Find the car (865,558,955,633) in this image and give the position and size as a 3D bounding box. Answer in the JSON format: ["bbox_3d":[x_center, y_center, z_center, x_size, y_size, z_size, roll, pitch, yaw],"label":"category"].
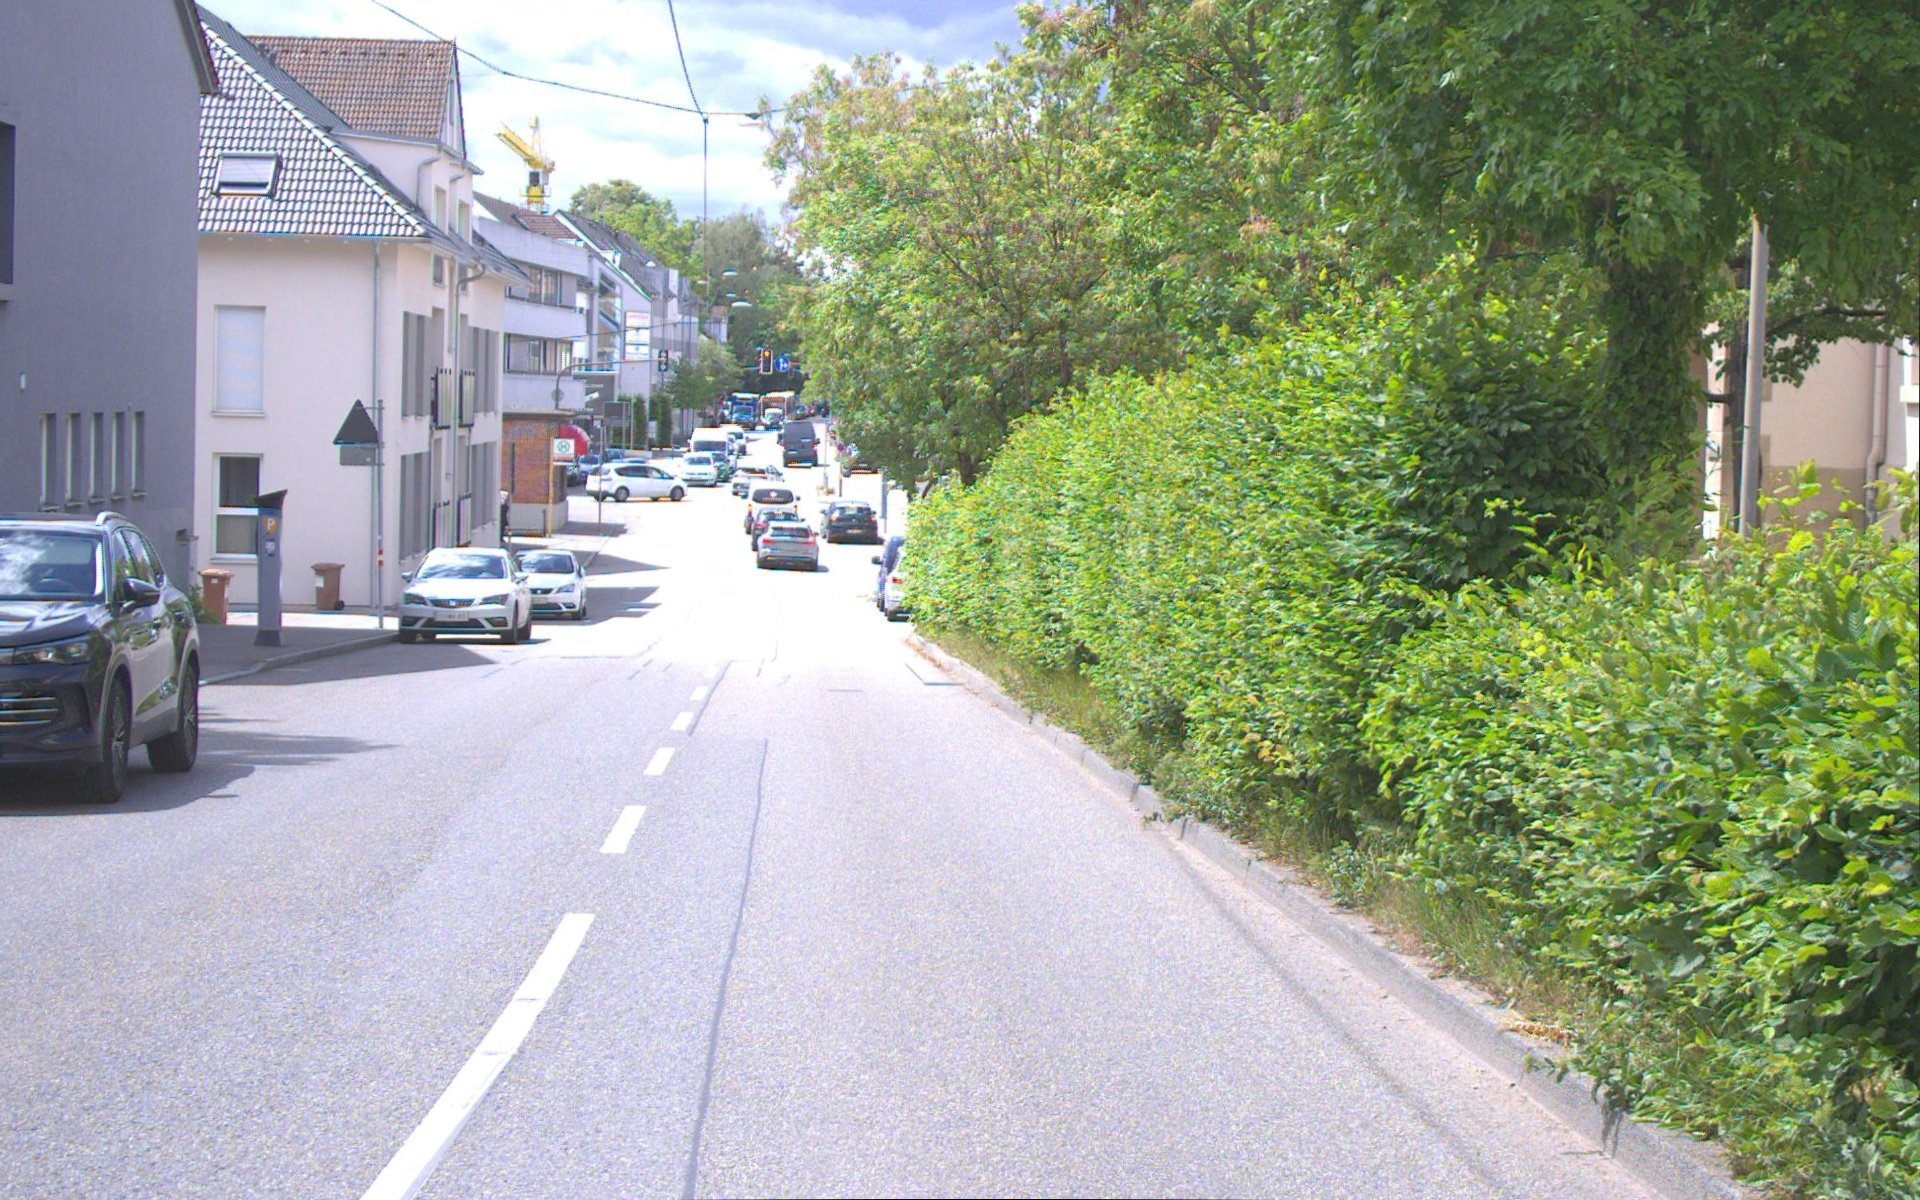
[{"bbox_3d":[-1.147,-0.114,76.866,1.786,1.504,4.365,2,1,-3],"label":"car"}]

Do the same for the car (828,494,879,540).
[{"bbox_3d":[-3.815,-2.969,122.812,1.753,1.366,4.001,2,4,-2],"label":"car"}]

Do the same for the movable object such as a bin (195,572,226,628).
[{"bbox_3d":[-12.755,-0.001,58.485,0.454,0.926,0.400,1,1,-4],"label":"movable object such as a bin"}]

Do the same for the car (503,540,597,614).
[{"bbox_3d":[-8.514,-0.494,71.588,1.647,1.414,3.699,2,1,-3],"label":"car"}]

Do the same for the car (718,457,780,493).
[{"bbox_3d":[-9.819,-5.803,159.944,1.783,1.487,3.998,3,2,12],"label":"car"}]

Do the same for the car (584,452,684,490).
[{"bbox_3d":[-14.049,-5.555,148.417,3.988,1.552,1.786,-1,2,-40],"label":"car"}]

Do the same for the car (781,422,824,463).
[{"bbox_3d":[-9.483,-9.466,206.923,2.436,2.310,5.328,3,2,-3],"label":"car"}]

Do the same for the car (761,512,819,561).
[{"bbox_3d":[-5.329,-1.990,107.408,1.744,1.412,4.001,1,2,-3],"label":"car"}]

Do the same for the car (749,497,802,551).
[{"bbox_3d":[-6.793,-2.802,126.525,1.836,1.855,3.851,2,2,-3],"label":"car"}]

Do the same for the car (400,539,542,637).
[{"bbox_3d":[-7.530,-0.215,53.245,1.697,1.385,3.866,1,2,-1],"label":"car"}]

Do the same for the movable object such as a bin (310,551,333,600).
[{"bbox_3d":[-12.516,-0.480,67.390,0.413,0.950,0.391,0,1,-6],"label":"movable object such as a bin"}]

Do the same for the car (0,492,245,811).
[{"bbox_3d":[-5.563,0.193,20.214,1.795,1.604,4.646,2,2,-1],"label":"car"}]

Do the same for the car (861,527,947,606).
[{"bbox_3d":[-1.367,-0.830,82.170,1.844,1.761,4.516,2,1,-3],"label":"car"}]
